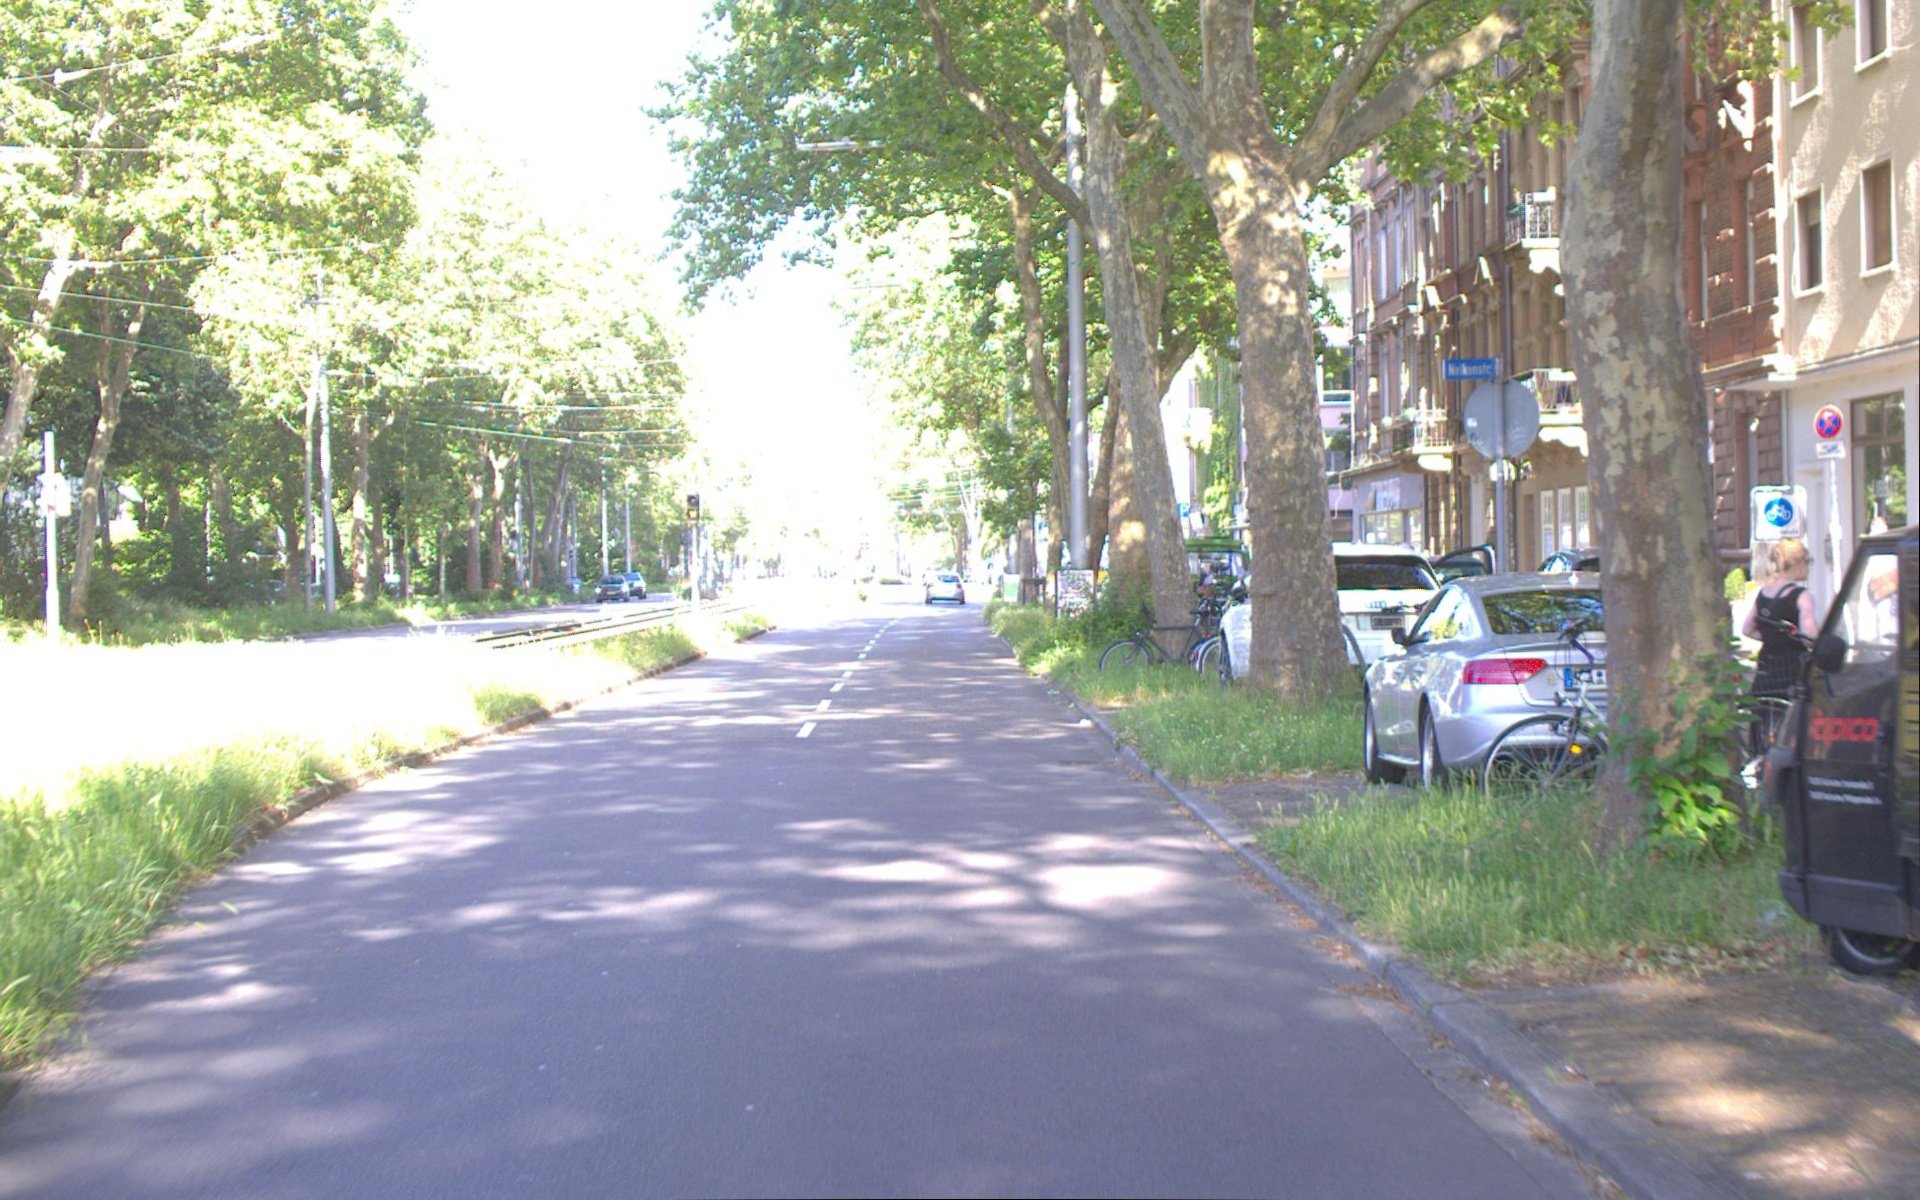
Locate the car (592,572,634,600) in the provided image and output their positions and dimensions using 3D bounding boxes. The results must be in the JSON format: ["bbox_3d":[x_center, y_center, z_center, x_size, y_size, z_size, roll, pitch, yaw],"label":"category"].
[{"bbox_3d":[-19.562,-0.796,193.848,1.795,1.503,4.338,-3,0,1],"label":"car"}]

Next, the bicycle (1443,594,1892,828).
[{"bbox_3d":[3.487,0.538,17.045,2.070,1.120,0.677,0,0,-1],"label":"bicycle"}]

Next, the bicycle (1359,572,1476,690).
[{"bbox_3d":[3.751,0.238,28.319,0.639,0.922,2.165,0,1,-1],"label":"bicycle"}]

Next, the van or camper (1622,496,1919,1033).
[{"bbox_3d":[3.428,0.474,10.713,1.500,1.582,2.841,-1,1,-17],"label":"van or camper"}]

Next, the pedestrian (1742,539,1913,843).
[{"bbox_3d":[4.730,0.485,18.777,0.687,1.605,0.713,2,1,0],"label":"pedestrian"}]

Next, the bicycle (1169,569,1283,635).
[{"bbox_3d":[5.274,0.034,68.282,2.164,1.290,0.983,0,0,0],"label":"bicycle"}]

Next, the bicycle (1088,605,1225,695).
[{"bbox_3d":[2.335,0.593,40.798,1.594,1.055,0.404,-1,0,7],"label":"bicycle"}]

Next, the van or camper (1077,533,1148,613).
[{"bbox_3d":[4.952,-0.869,111.939,2.184,2.472,6.267,2,0,2],"label":"van or camper"}]

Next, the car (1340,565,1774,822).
[{"bbox_3d":[3.533,0.487,21.262,1.753,1.393,5.026,0,1,-1],"label":"car"}]

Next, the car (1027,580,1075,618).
[{"bbox_3d":[3.681,-0.052,139.651,1.683,1.508,3.668,0,0,-3],"label":"car"}]

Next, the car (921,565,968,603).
[{"bbox_3d":[-0.707,-0.721,154.770,2.021,1.656,4.000,0,0,-1],"label":"car"}]

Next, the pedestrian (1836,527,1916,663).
[{"bbox_3d":[11.620,-0.061,43.617,0.795,1.698,0.724,-1,0,0],"label":"pedestrian"}]

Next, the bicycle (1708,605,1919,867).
[{"bbox_3d":[4.073,0.567,15.348,0.757,1.074,1.888,0,0,-10],"label":"bicycle"}]

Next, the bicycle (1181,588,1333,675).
[{"bbox_3d":[3.316,0.345,38.324,1.759,0.924,0.654,-1,1,-41],"label":"bicycle"}]

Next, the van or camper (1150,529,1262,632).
[{"bbox_3d":[5.282,-0.429,74.252,1.833,2.091,4.775,2,0,-2],"label":"van or camper"}]

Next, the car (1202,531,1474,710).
[{"bbox_3d":[3.664,0.159,34.168,1.902,1.630,4.825,-1,1,-3],"label":"car"}]
